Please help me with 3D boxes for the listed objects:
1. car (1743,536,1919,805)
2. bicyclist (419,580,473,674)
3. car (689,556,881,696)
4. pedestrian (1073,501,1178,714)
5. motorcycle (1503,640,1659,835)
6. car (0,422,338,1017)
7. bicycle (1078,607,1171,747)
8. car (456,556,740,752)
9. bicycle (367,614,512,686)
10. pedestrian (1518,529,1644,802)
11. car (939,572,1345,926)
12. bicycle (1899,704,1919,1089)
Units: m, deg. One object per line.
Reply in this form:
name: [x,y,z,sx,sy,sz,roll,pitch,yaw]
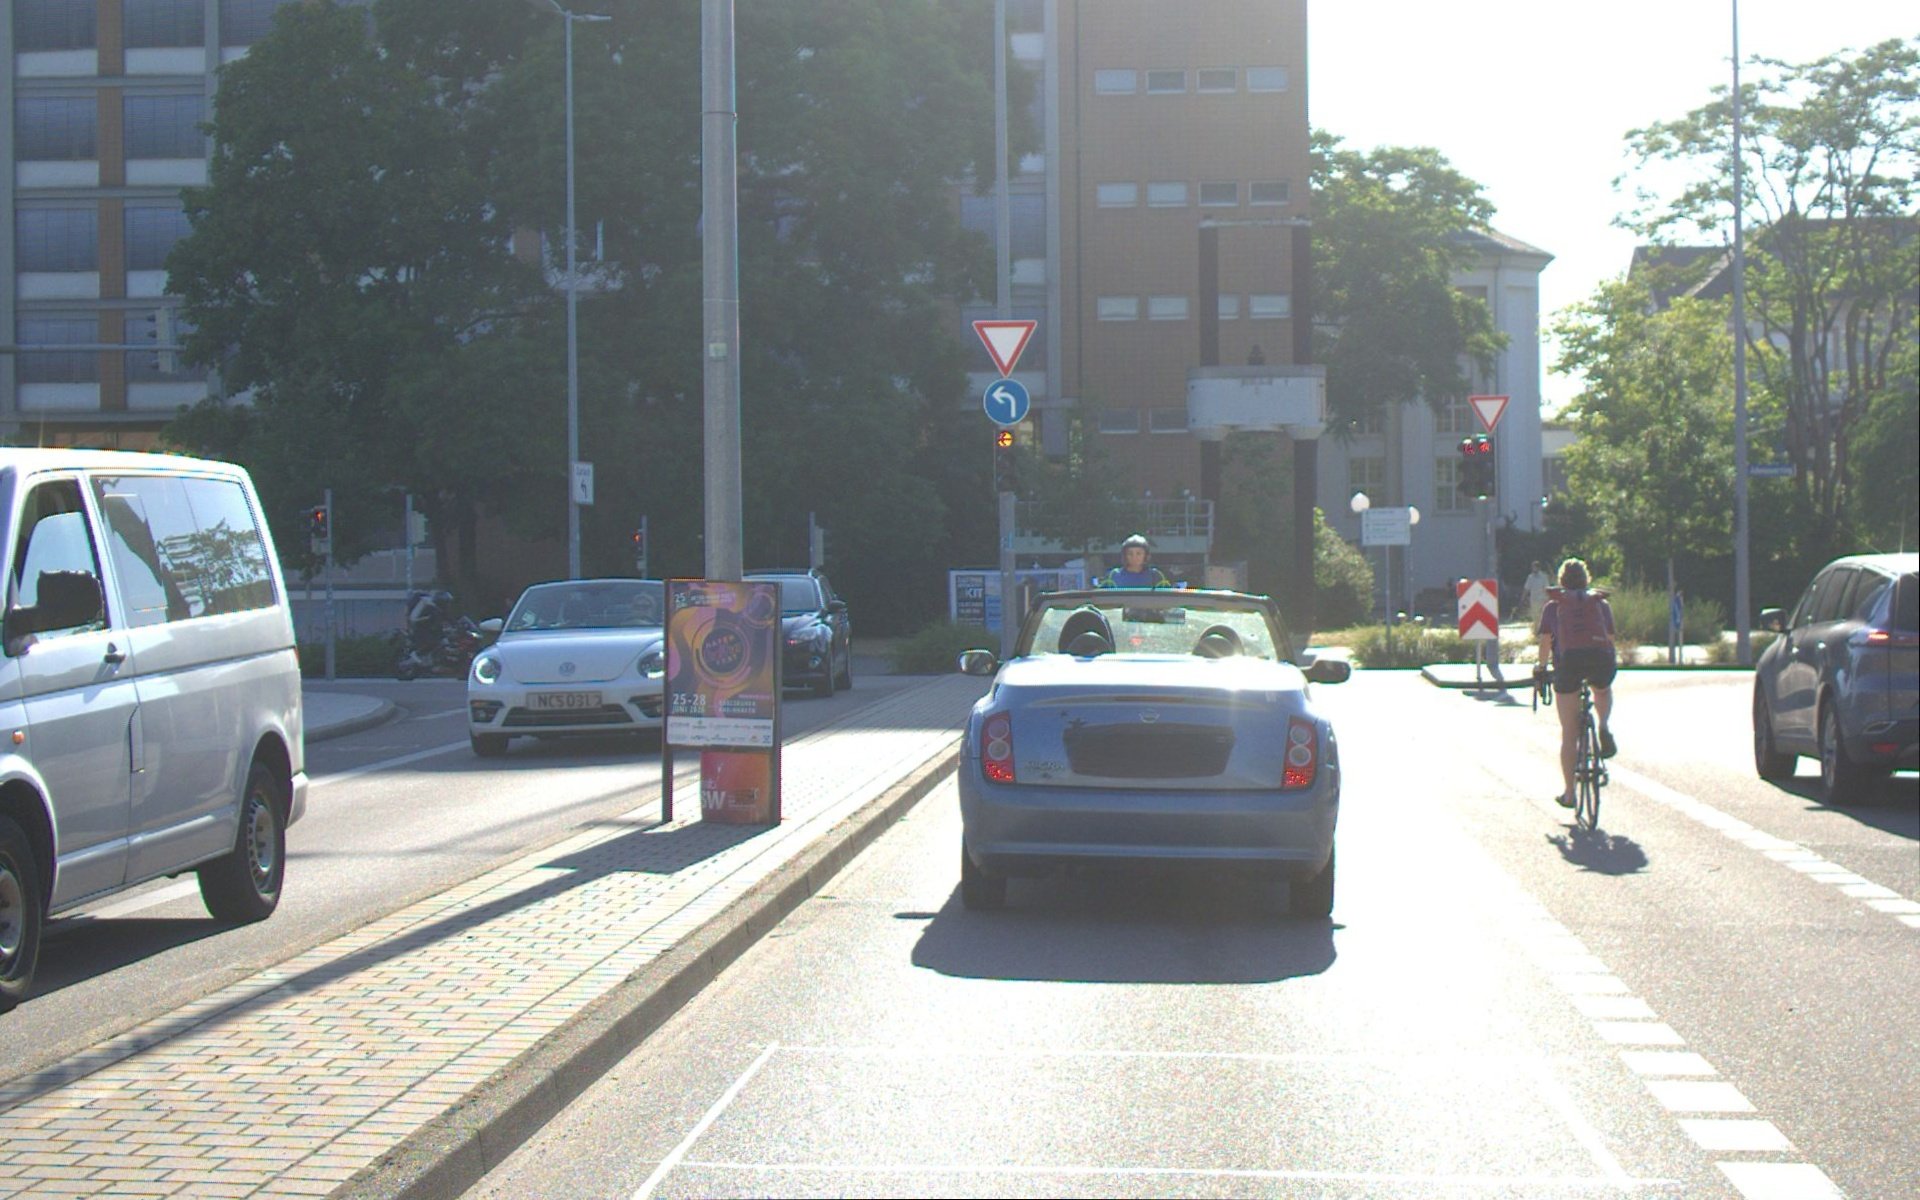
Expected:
car: [6.691,0.481,23.750,1.831,1.683,4.368,1,-1,4]
bicyclist: [-8.922,0.469,59.661,0.752,1.593,0.589,1,-1,11]
car: [-2.014,0.274,40.582,1.799,1.525,4.000,-2,0,3]
pedestrian: [1.479,0.068,30.663,0.833,1.862,0.920,1,-1,7]
motorcycle: [3.732,0.797,20.809,0.613,1.094,2.360,1,-1,3]
car: [-3.943,0.403,12.930,1.909,1.938,4.705,-2,0,5]
bicycle: [1.490,0.675,30.778,0.608,1.187,2.414,1,-1,8]
car: [-3.028,0.420,29.521,1.799,1.525,4.000,-2,0,3]
bicycle: [-9.031,0.870,59.671,2.408,1.187,0.609,1,-1,11]
pedestrian: [3.734,0.389,20.722,0.587,1.593,1.025,1,-1,3]
car: [0.830,0.638,16.361,1.660,1.436,4.154,1,-1,2]
bicycle: [3.103,0.890,9.678,0.564,1.147,1.949,1,-1,6]
